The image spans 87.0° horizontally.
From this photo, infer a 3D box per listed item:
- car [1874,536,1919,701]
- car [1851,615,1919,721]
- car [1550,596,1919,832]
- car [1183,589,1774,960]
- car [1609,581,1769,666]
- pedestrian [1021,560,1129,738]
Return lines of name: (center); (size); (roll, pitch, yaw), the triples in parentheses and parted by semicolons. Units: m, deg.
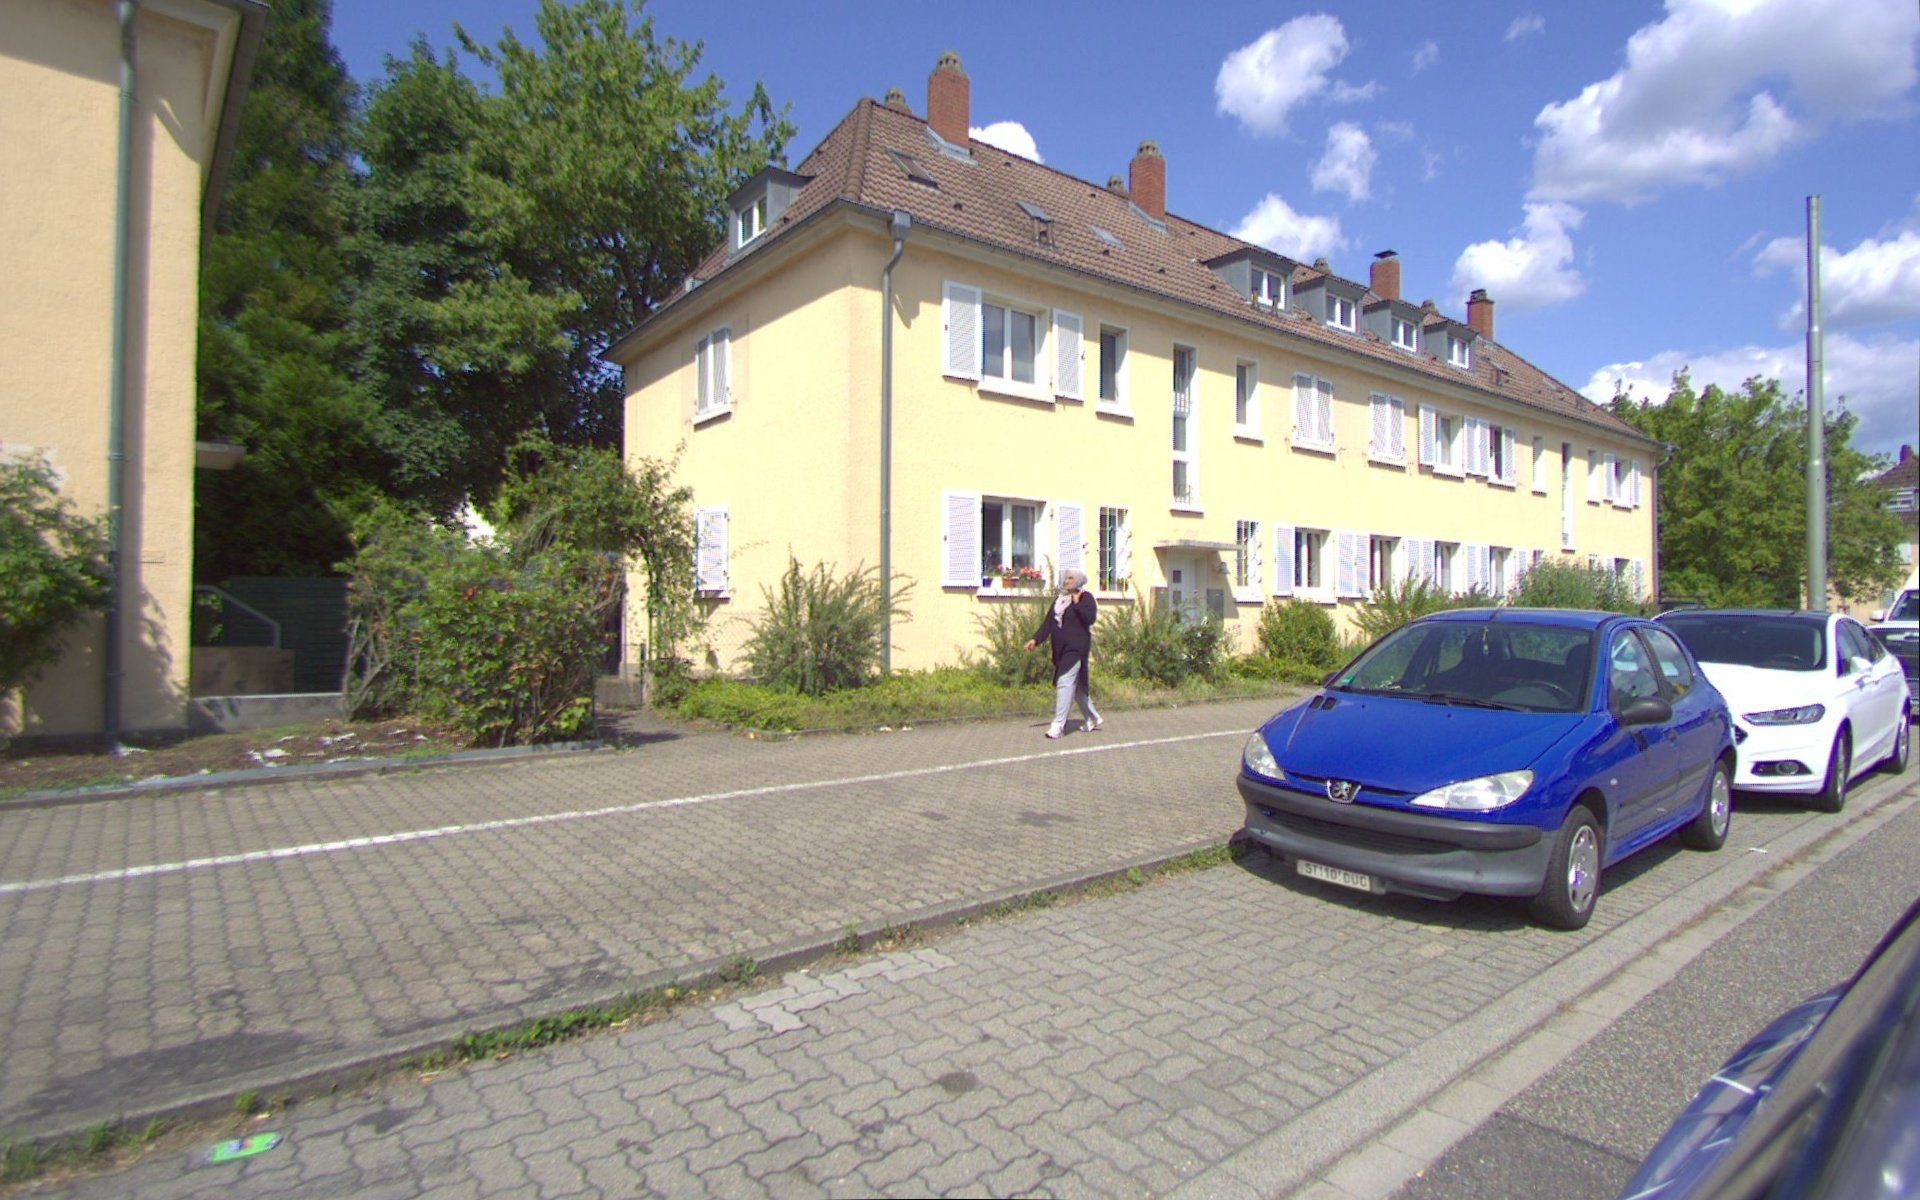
car: (17.297, 0.313, 16.964); (5.243, 2.569, 1.925); (1, -1, -36)
car: (13.641, 0.892, 14.089); (3.480, 1.323, 1.357); (0, 0, -40)
car: (6.886, 0.746, 8.681); (4.545, 1.508, 1.755); (0, 0, -40)
car: (3.182, 0.680, 5.887); (3.829, 1.447, 1.701); (0, 1, -40)
car: (16.726, 0.523, 23.181); (3.972, 1.769, 1.927); (1, -1, -38)
pedestrian: (1.131, 0.452, 9.944); (0.885, 1.659, 0.617); (0, 0, -40)
